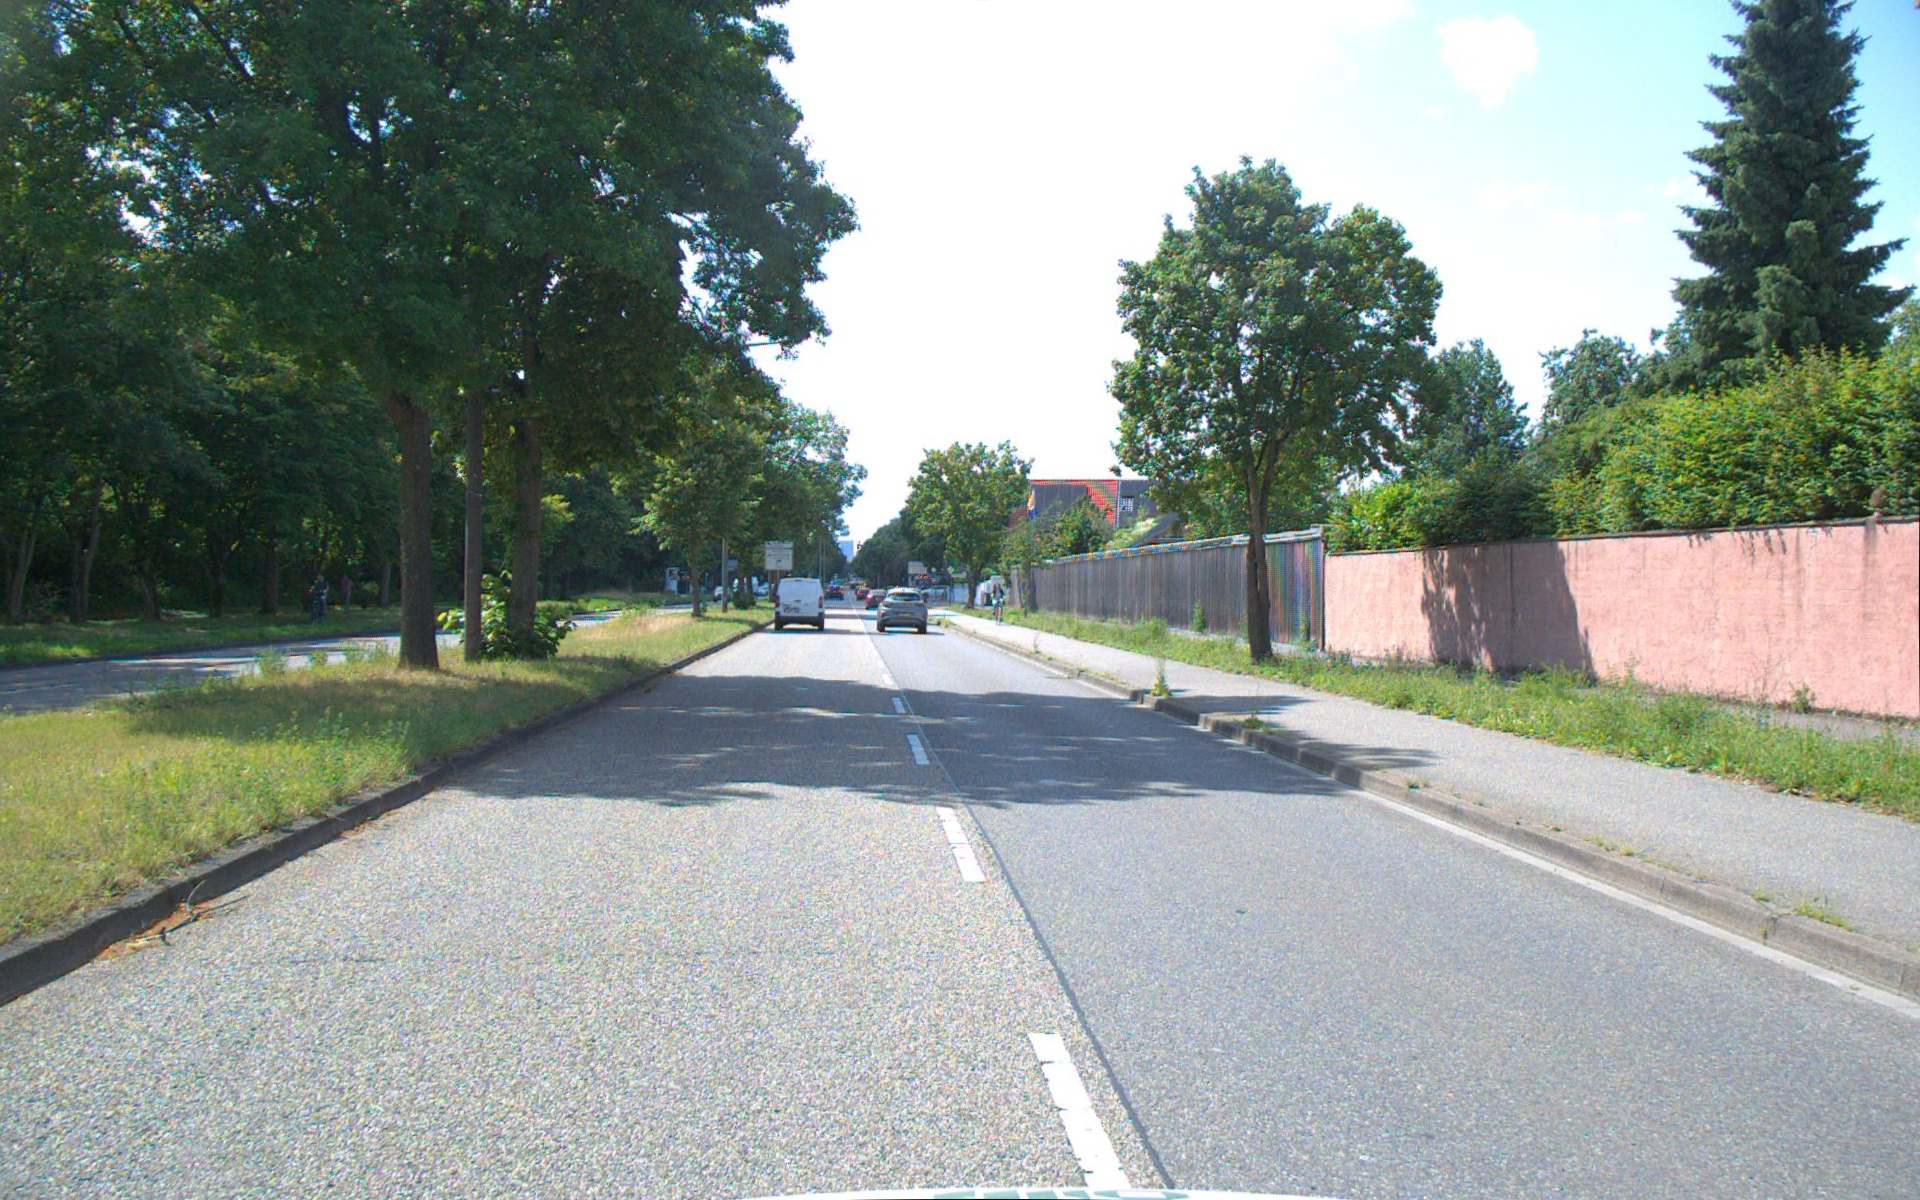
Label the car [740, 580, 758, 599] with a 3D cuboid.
[{"bbox_3d":[-27.936,-1.435,219.191,2.005,2.474,5.246,1,0,-4],"label":"car"}]

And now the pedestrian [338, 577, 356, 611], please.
[{"bbox_3d":[-30.686,-0.313,82.855,0.631,1.658,0.656,2,0,-3],"label":"pedestrian"}]

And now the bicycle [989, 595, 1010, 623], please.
[{"bbox_3d":[1.600,0.366,66.997,0.633,1.086,2.277,-2,0,-3],"label":"bicycle"}]

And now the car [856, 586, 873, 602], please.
[{"bbox_3d":[-11.415,-0.732,197.334,1.954,1.802,4.144,2,1,-4],"label":"car"}]

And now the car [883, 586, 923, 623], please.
[{"bbox_3d":[-2.708,0.188,77.445,1.744,1.672,4.193,1,0,-4],"label":"car"}]

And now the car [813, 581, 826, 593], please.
[{"bbox_3d":[-21.202,-1.901,249.358,1.744,1.798,4.148,1,0,-4],"label":"car"}]

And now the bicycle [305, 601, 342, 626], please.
[{"bbox_3d":[-22.873,0.479,59.453,0.605,0.894,1.914,1,0,-1],"label":"bicycle"}]

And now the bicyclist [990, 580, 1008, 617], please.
[{"bbox_3d":[1.584,-0.065,67.041,0.641,1.436,0.986,-2,0,-3],"label":"bicyclist"}]

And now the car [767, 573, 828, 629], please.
[{"bbox_3d":[-5.853,0.002,60.013,2.025,1.945,4.643,1,1,-4],"label":"car"}]

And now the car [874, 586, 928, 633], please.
[{"bbox_3d":[-2.194,0.316,60.324,1.838,1.617,4.181,1,0,-4],"label":"car"}]

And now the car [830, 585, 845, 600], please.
[{"bbox_3d":[-15.277,-0.906,206.370,1.744,1.798,4.166,1,0,-4],"label":"car"}]

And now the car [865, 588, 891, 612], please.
[{"bbox_3d":[-5.936,-0.013,119.302,1.843,1.615,3.997,1,1,-4],"label":"car"}]

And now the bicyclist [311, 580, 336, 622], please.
[{"bbox_3d":[-22.868,0.037,59.402,0.605,1.473,0.729,1,0,-1],"label":"bicyclist"}]

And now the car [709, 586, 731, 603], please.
[{"bbox_3d":[-25.673,-0.576,177.200,1.954,1.735,4.190,1,0,-4],"label":"car"}]

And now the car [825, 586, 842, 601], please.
[{"bbox_3d":[-15.017,-0.786,196.337,1.903,1.798,4.143,1,0,-4],"label":"car"}]
